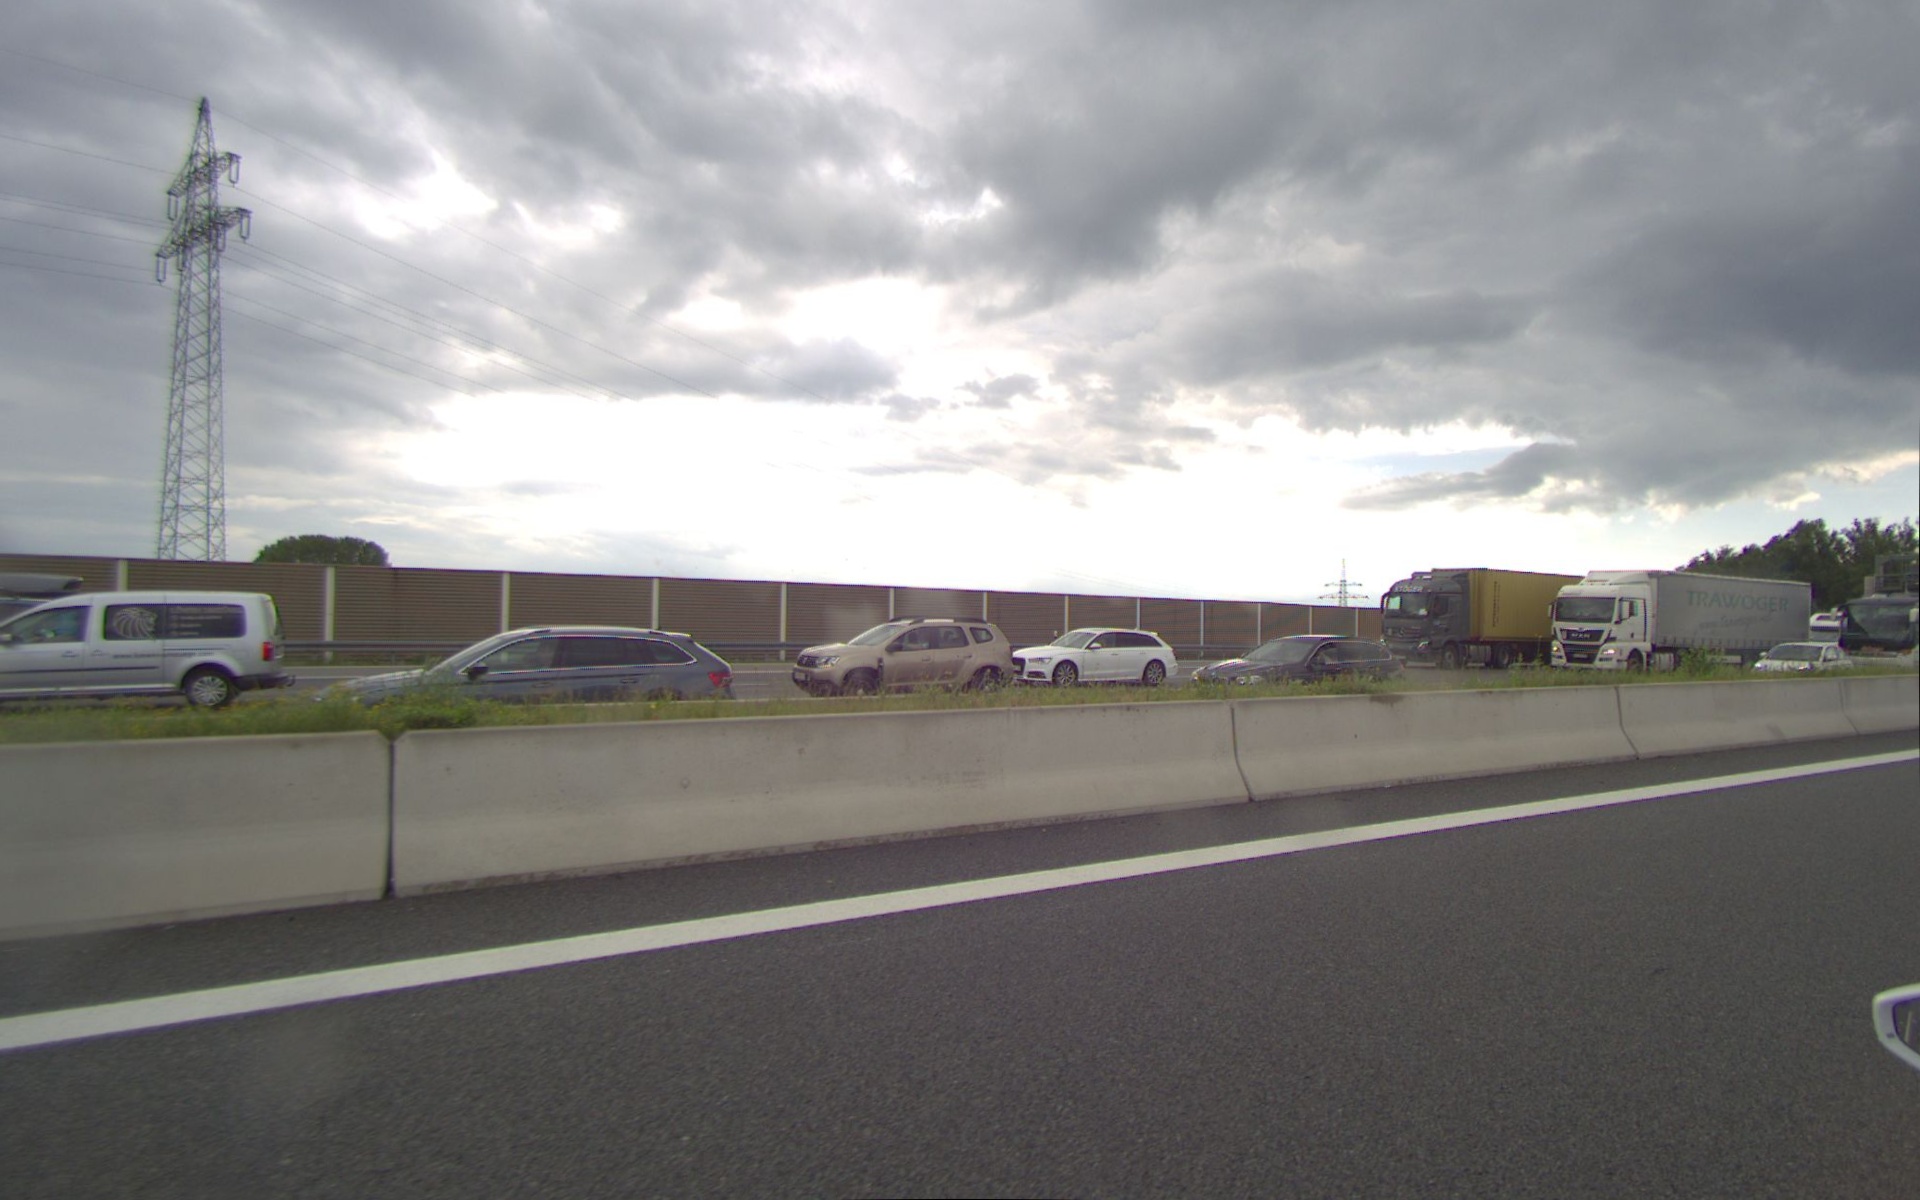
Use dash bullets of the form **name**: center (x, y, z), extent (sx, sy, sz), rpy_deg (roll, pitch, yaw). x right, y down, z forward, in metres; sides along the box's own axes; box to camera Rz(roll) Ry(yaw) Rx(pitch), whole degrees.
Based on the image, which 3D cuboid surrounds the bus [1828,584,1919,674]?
- **bus**: center (43.132, 1.343, 45.383), extent (10.507, 3.728, 2.642), rpy_deg (2, -1, -30)

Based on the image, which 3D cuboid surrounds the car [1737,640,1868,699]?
- **car**: center (25.189, 2.024, 30.000), extent (4.328, 1.559, 1.727), rpy_deg (1, 0, -32)

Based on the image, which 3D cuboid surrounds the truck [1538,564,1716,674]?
- **truck**: center (26.527, 0.766, 39.870), extent (7.447, 4.014, 2.872), rpy_deg (1, 0, -30)

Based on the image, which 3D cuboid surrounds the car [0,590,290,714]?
- **car**: center (-13.323, 0.766, 15.791), extent (4.526, 1.763, 1.781), rpy_deg (1, 0, -32)

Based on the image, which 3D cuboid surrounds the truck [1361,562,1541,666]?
- **truck**: center (20.533, 0.666, 41.906), extent (7.618, 3.985, 3.015), rpy_deg (2, -1, -30)

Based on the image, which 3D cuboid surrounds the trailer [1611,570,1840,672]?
- **trailer**: center (34.033, 0.962, 44.311), extent (14.131, 4.014, 2.872), rpy_deg (1, 0, -31)

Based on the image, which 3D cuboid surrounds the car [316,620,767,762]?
- **car**: center (-4.971, 1.000, 12.290), extent (4.806, 1.400, 1.778), rpy_deg (1, 0, -32)

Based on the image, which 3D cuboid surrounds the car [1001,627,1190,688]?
- **car**: center (3.546, 1.451, 25.989), extent (4.806, 1.400, 1.778), rpy_deg (1, 0, -32)

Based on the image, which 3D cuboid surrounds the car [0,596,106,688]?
- **car**: center (-18.409, 0.737, 18.412), extent (3.911, 1.619, 1.778), rpy_deg (1, 0, -32)

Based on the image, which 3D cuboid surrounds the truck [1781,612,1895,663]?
- **truck**: center (51.688, 2.217, 59.064), extent (7.741, 2.851, 2.679), rpy_deg (2, -1, -30)

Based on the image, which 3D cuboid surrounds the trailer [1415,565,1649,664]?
- **trailer**: center (25.798, 0.792, 44.927), extent (12.820, 3.985, 3.015), rpy_deg (2, -1, -30)

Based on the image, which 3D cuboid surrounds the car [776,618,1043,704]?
- **car**: center (-0.888, 1.097, 19.066), extent (4.806, 1.400, 1.778), rpy_deg (1, 0, -32)

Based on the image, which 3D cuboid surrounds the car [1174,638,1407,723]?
- **car**: center (6.467, 1.487, 19.484), extent (4.538, 1.400, 1.778), rpy_deg (1, 0, -32)
